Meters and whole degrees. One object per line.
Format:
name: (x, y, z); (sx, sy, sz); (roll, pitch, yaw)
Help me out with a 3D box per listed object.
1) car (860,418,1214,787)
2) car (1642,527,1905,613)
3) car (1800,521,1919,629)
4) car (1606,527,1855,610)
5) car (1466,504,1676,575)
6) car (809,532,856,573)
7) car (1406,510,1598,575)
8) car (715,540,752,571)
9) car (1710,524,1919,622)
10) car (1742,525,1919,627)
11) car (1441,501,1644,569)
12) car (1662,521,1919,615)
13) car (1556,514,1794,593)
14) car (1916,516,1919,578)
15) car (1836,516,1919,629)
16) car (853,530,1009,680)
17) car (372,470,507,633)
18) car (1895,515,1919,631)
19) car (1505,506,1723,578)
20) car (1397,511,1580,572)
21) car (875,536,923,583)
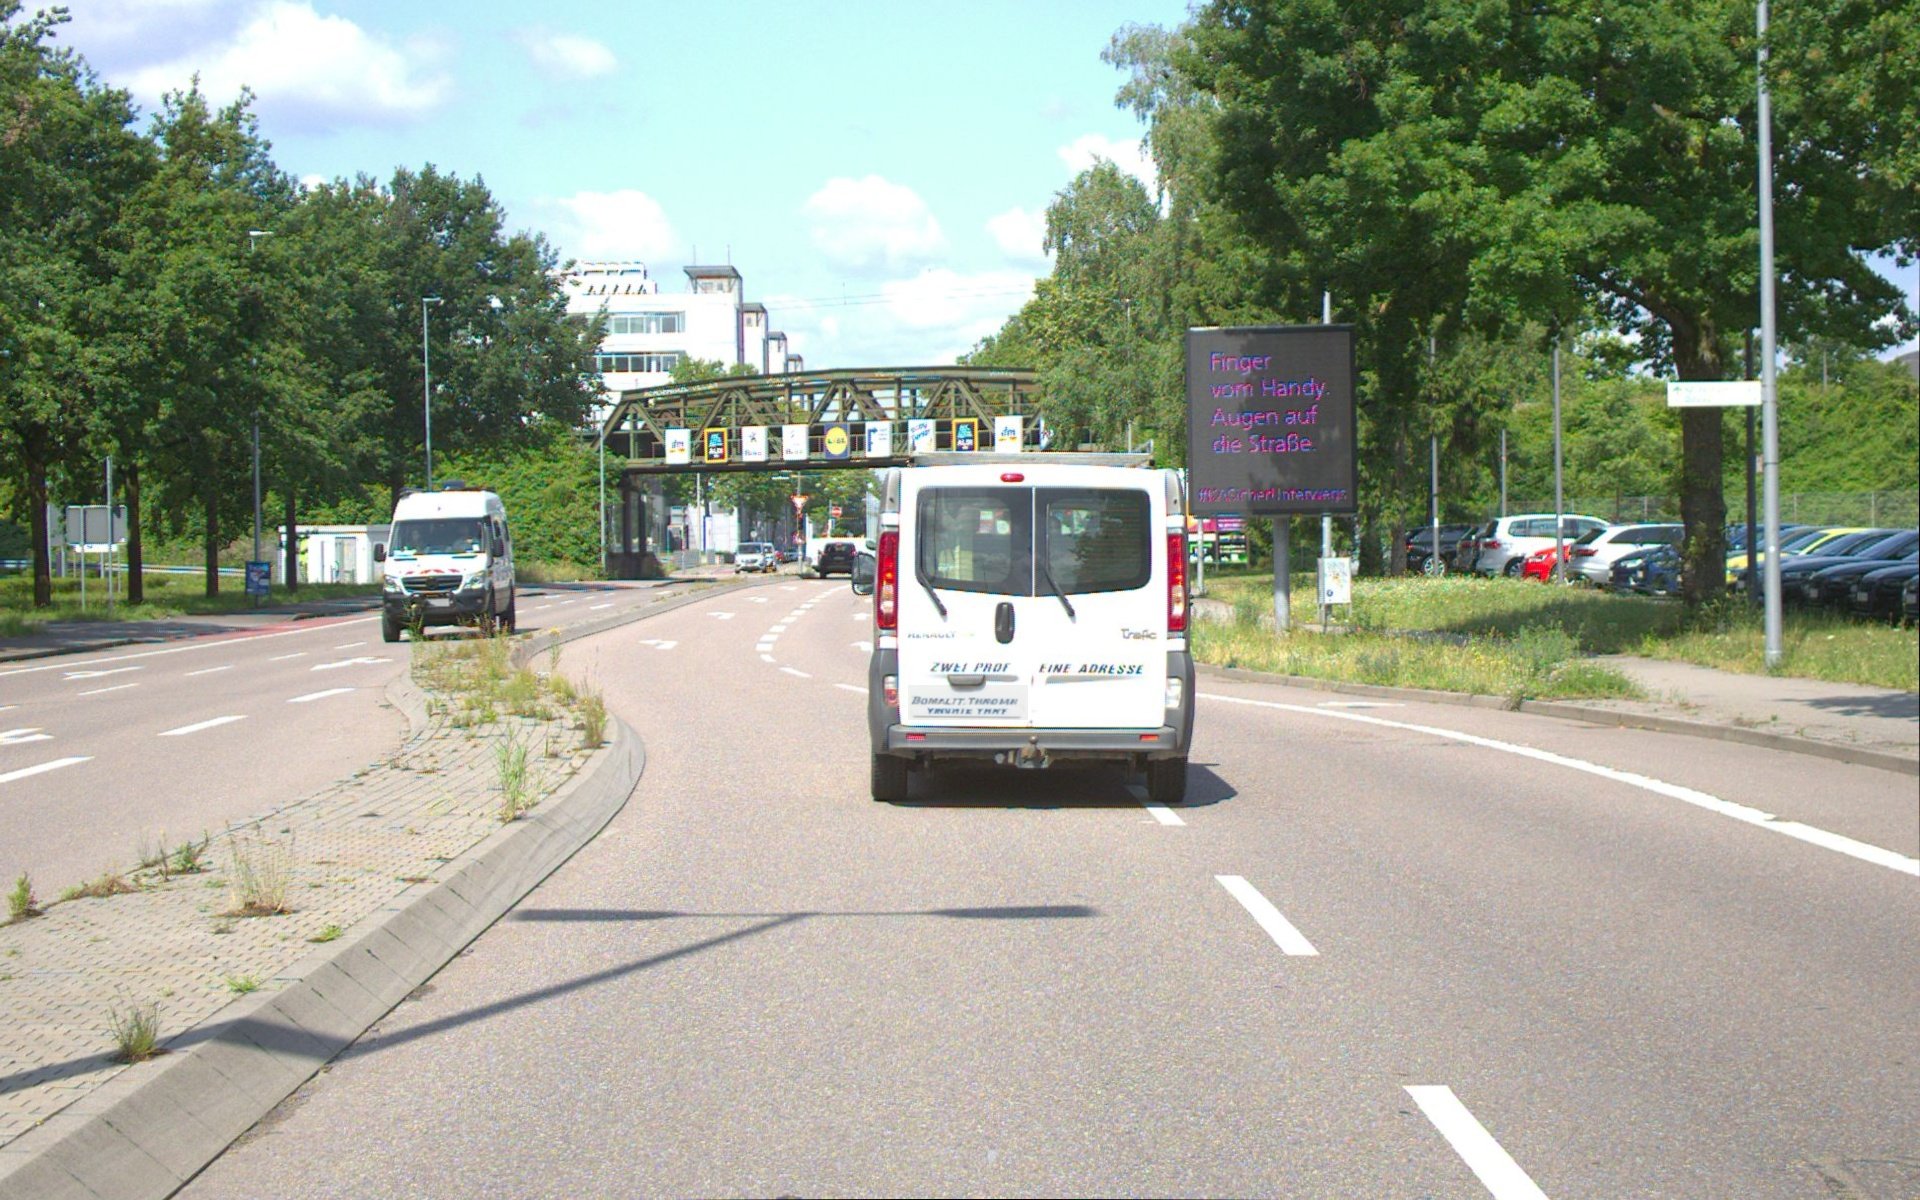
car: (0.403, -0.076, 21.460); (1.973, 2.052, 4.565); (0, 2, -1)
car: (15.039, -0.565, 63.719); (4.354, 1.507, 1.936); (0, 3, -2)
car: (14.897, -0.384, 50.986); (4.354, 1.507, 1.936); (0, 3, -2)
car: (14.929, -0.623, 66.743); (4.354, 1.507, 1.936); (0, 3, -2)
car: (13.781, -1.374, 77.710); (4.354, 1.507, 1.936); (0, 3, -2)
car: (-5.936, -2.240, 160.782); (1.993, 1.765, 4.001); (0, 3, 1)
car: (13.313, -1.431, 84.573); (4.354, 1.507, 1.936); (0, 3, -2)
car: (-14.670, -2.887, 222.537); (1.993, 2.007, 4.000); (-1, 1, 2)
car: (14.656, -0.447, 56.154); (4.354, 1.507, 1.936); (0, 3, -2)
car: (14.642, -0.384, 53.700); (4.354, 1.507, 1.936); (0, 3, -2)
car: (13.576, -1.518, 80.319); (4.354, 1.507, 1.936); (0, 3, -2)
car: (14.385, -0.560, 58.663); (4.354, 1.507, 1.936); (0, 3, -2)
car: (14.392, -0.951, 69.354); (4.354, 1.507, 1.936); (0, 3, -2)
car: (25.458, -1.292, 82.722); (4.346, 1.493, 1.907); (-1, 1, 0)
car: (14.799, -0.396, 48.464); (4.354, 1.507, 1.936); (0, 3, -2)
car: (-0.381, 0.019, 41.392); (1.774, 1.623, 4.001); (0, 2, -1)
car: (-9.706, -0.928, 64.507); (2.022, 2.883, 6.383); (-1, 1, -5)
car: (14.865, -0.344, 45.610); (4.354, 1.507, 1.936); (0, 3, -2)
car: (14.266, -1.279, 75.177); (4.354, 1.507, 1.936); (0, 3, -2)
car: (13.571, -1.513, 88.400); (4.354, 1.507, 1.936); (0, 3, -2)
car: (-2.647, -1.788, 149.902); (1.993, 2.007, 4.000); (-1, 1, 0)
